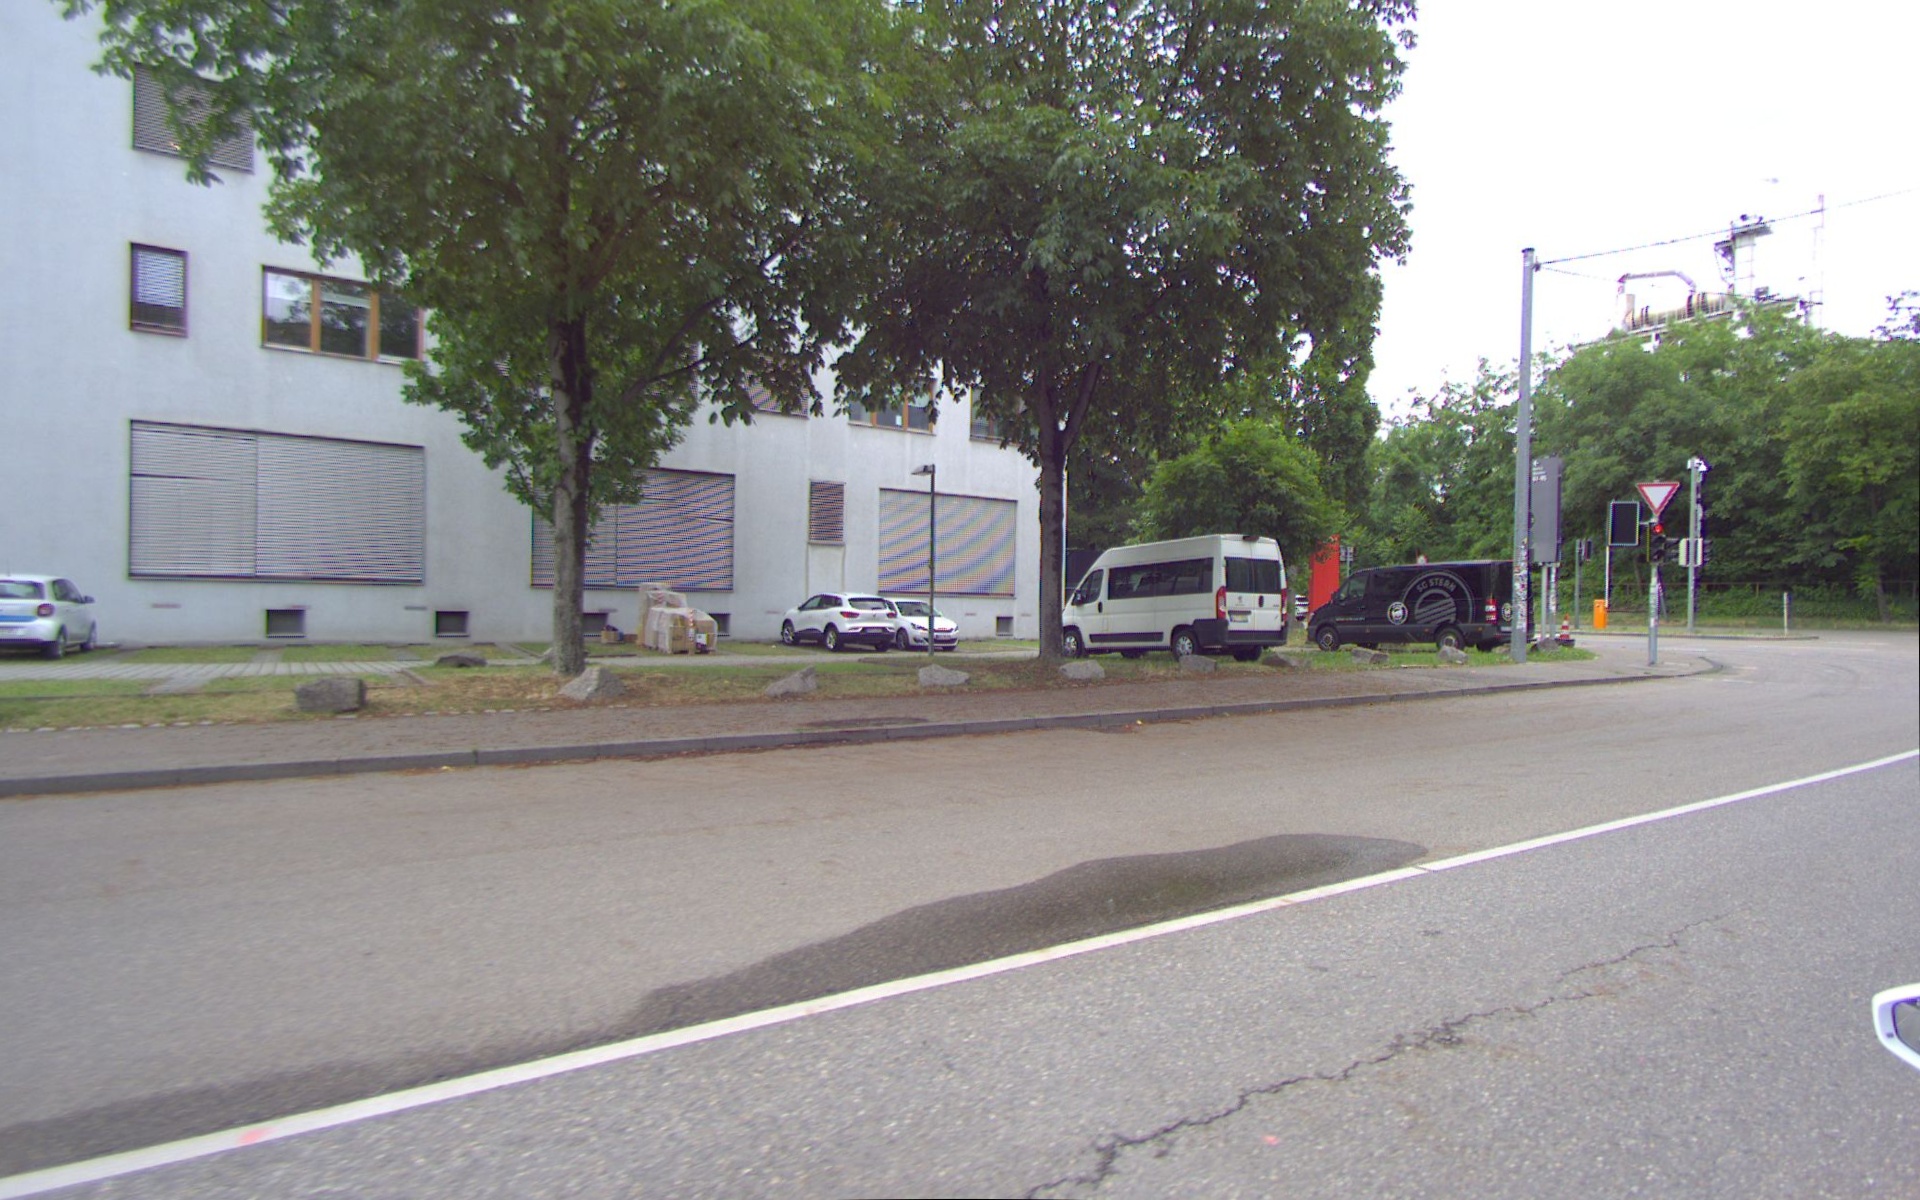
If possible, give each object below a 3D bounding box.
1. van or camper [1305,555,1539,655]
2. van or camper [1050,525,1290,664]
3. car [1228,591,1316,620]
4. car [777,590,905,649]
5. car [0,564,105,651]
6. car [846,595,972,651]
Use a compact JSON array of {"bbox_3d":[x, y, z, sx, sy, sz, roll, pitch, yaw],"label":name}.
[{"bbox_3d":[12.075,0.221,26.709,2.038,2.343,5.509,3,-3,-30],"label":"van or camper"},{"bbox_3d":[4.327,-0.127,21.546,2.041,2.604,4.939,3,0,-34],"label":"van or camper"},{"bbox_3d":[18.115,0.300,58.494,1.882,1.475,4.639,3,0,-36],"label":"car"},{"bbox_3d":[-3.466,0.521,28.672,1.883,1.475,3.969,3,0,-37],"label":"car"},{"bbox_3d":[-17.809,0.098,19.221,1.674,1.520,3.591,3,0,-33],"label":"car"},{"bbox_3d":[-1.600,0.678,30.308,1.883,1.475,3.969,3,0,-37],"label":"car"}]
